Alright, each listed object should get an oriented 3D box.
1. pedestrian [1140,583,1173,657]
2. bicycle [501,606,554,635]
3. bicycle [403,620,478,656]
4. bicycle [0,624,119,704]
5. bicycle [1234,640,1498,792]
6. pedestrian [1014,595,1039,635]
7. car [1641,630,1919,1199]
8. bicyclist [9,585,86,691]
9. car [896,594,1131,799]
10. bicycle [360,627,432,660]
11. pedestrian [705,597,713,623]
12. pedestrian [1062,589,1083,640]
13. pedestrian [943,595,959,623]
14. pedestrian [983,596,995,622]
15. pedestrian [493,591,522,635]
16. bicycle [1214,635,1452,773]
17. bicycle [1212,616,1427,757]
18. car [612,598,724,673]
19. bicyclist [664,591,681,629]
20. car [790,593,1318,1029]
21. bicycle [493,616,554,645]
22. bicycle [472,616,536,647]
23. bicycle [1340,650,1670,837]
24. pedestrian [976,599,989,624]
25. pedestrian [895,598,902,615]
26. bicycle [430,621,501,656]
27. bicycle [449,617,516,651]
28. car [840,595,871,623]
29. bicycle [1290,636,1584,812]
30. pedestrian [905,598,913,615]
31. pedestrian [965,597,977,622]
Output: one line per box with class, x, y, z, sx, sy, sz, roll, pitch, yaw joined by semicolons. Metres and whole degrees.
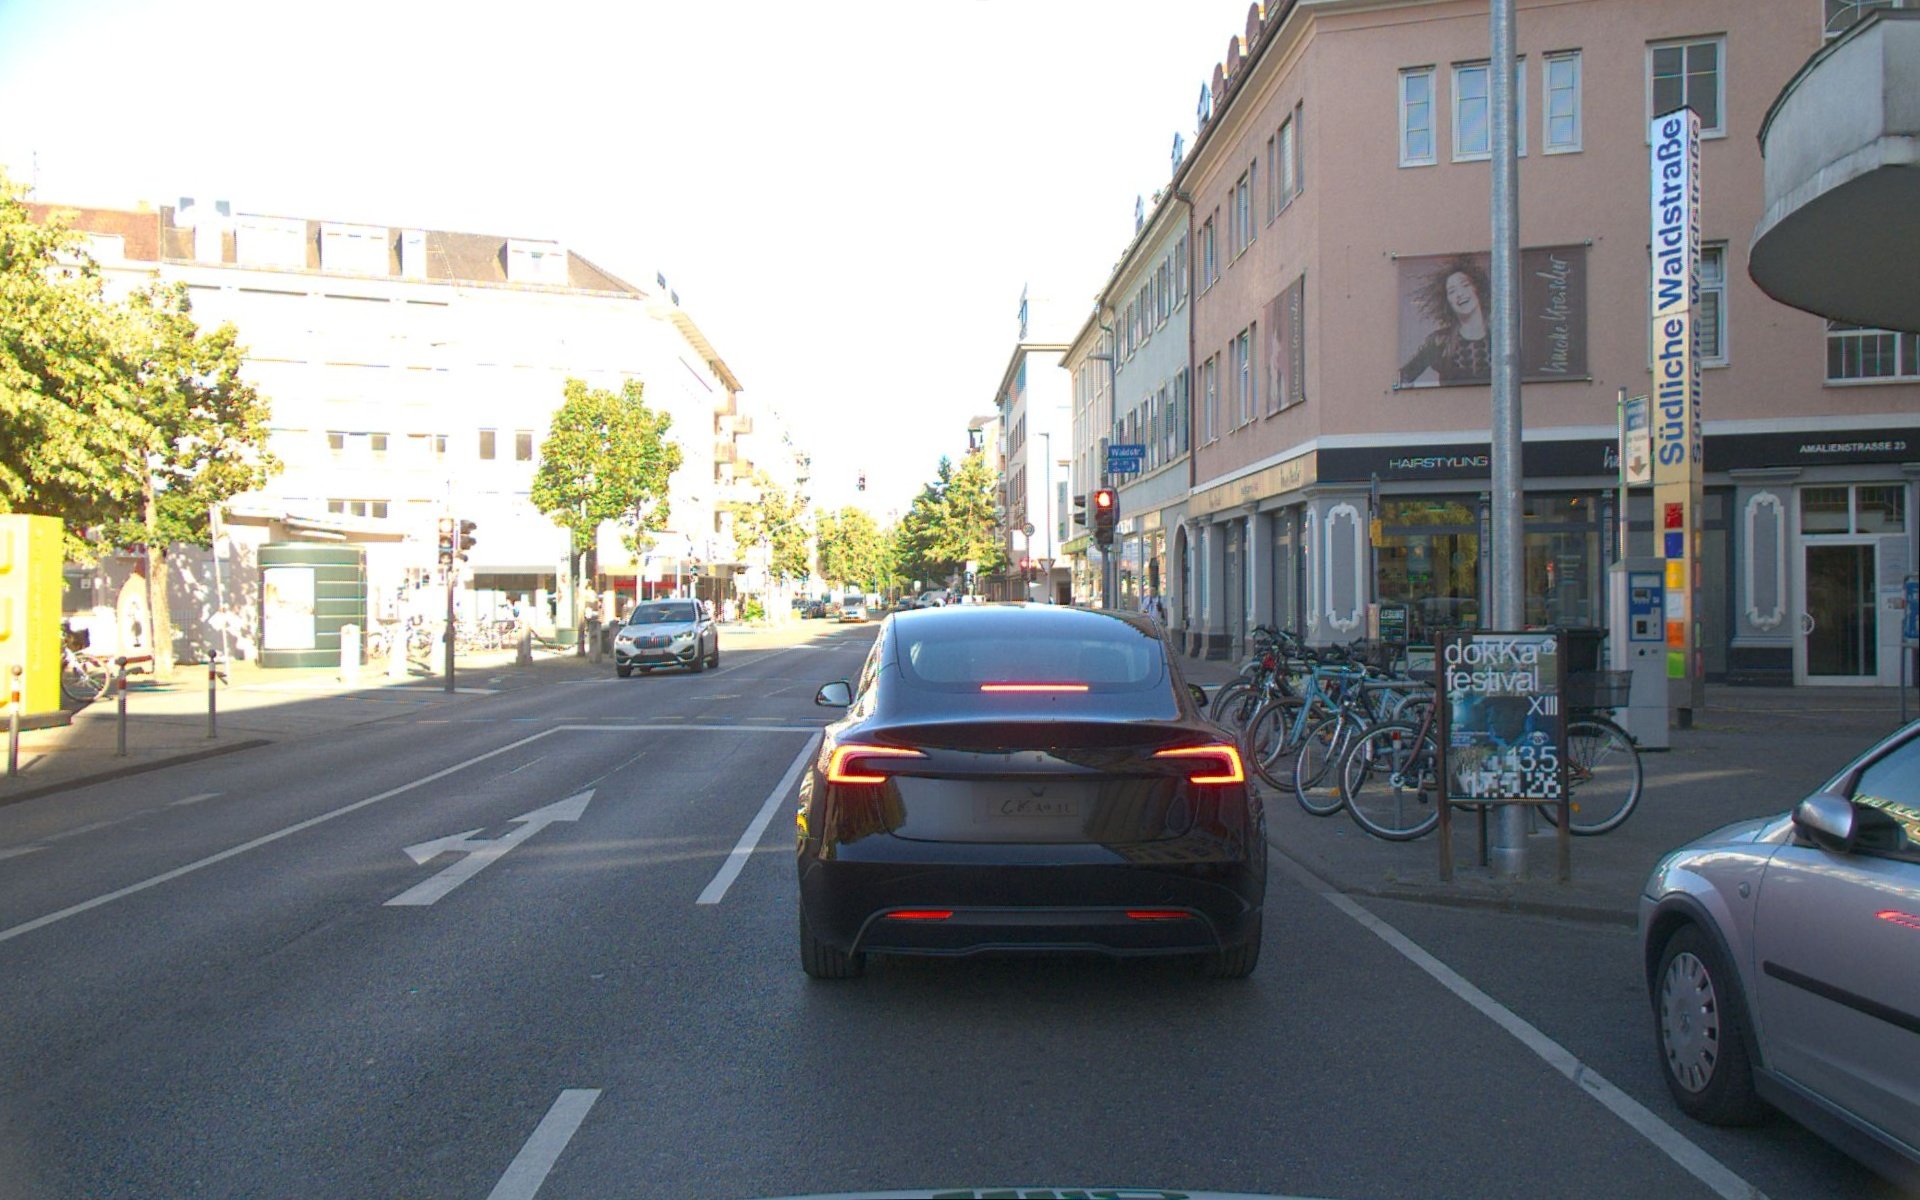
pedestrian;4.895;0.495;41.159;0.735;1.796;0.837;1;-1;3
bicycle;-20.296;0.983;77.604;2.334;1.318;0.509;1;-1;-27
bicycle;-14.130;1.025;44.996;1.826;0.950;0.606;0;0;-2
bicycle;-13.312;0.916;23.995;1.907;1.137;0.704;0;0;-23
bicycle;3.037;0.863;12.472;1.834;1.056;0.533;-2;-1;3
pedestrian;2.802;0.642;69.339;0.742;1.660;0.951;1;-1;-18
car;2.914;0.800;3.505;1.515;1.415;3.476;0;0;0
bicyclist;-13.243;0.549;24.019;0.878;1.508;0.697;1;-1;-22
car;0.312;0.687;13.741;1.683;1.450;3.755;0;0;-2
bicycle;-14.455;1.111;42.406;1.612;0.806;0.606;1;0;-5
pedestrian;-14.422;0.551;95.087;0.451;1.486;0.517;0;0;-6
pedestrian;3.995;0.505;58.528;0.692;1.773;0.540;0;0;-1
pedestrian;-0.577;0.567;103.651;0.708;1.725;0.843;0;0;-28
pedestrian;1.693;0.524;95.835;0.516;1.447;0.474;1;-1;-31
pedestrian;-21.713;0.629;79.394;1.035;2.049;1.056;1;-1;4
bicycle;3.065;0.849;13.692;1.833;1.056;0.548;-2;-1;5
bicycle;3.198;0.767;14.800;1.789;1.189;0.506;-2;-1;5
car;-6.292;0.742;36.040;1.752;1.485;3.756;-2;0;-1
bicyclist;-11.461;0.392;65.922;0.516;1.530;0.472;1;-1;-26
car;0.293;0.722;7.593;1.785;1.467;3.999;0;0;-1
bicycle;-14.372;0.994;54.459;1.826;0.950;0.606;0;0;-2
bicycle;-14.336;0.985;52.011;1.826;0.950;0.606;0;0;-2
bicycle;3.273;0.865;10.022;1.833;1.056;0.353;-2;-1;6
pedestrian;1.300;0.650;95.328;0.516;1.447;0.474;1;-1;-31
pedestrian;-7.542;0.800;203.070;0.912;2.049;0.938;1;-1;-1
bicycle;-14.076;1.086;47.112;1.826;0.950;0.606;1;0;-2
bicycle;-14.313;1.017;49.582;1.826;0.950;0.606;1;0;-2
car;-6.662;0.578;105.717;1.751;1.675;4.401;1;0;-1
bicycle;3.206;0.829;11.196;1.834;1.106;0.414;-2;-1;3
pedestrian;-6.250;0.823;203.333;0.912;2.049;0.938;1;-1;-1
pedestrian;0.651;0.540;95.794;0.467;1.442;0.516;1;-1;-32
